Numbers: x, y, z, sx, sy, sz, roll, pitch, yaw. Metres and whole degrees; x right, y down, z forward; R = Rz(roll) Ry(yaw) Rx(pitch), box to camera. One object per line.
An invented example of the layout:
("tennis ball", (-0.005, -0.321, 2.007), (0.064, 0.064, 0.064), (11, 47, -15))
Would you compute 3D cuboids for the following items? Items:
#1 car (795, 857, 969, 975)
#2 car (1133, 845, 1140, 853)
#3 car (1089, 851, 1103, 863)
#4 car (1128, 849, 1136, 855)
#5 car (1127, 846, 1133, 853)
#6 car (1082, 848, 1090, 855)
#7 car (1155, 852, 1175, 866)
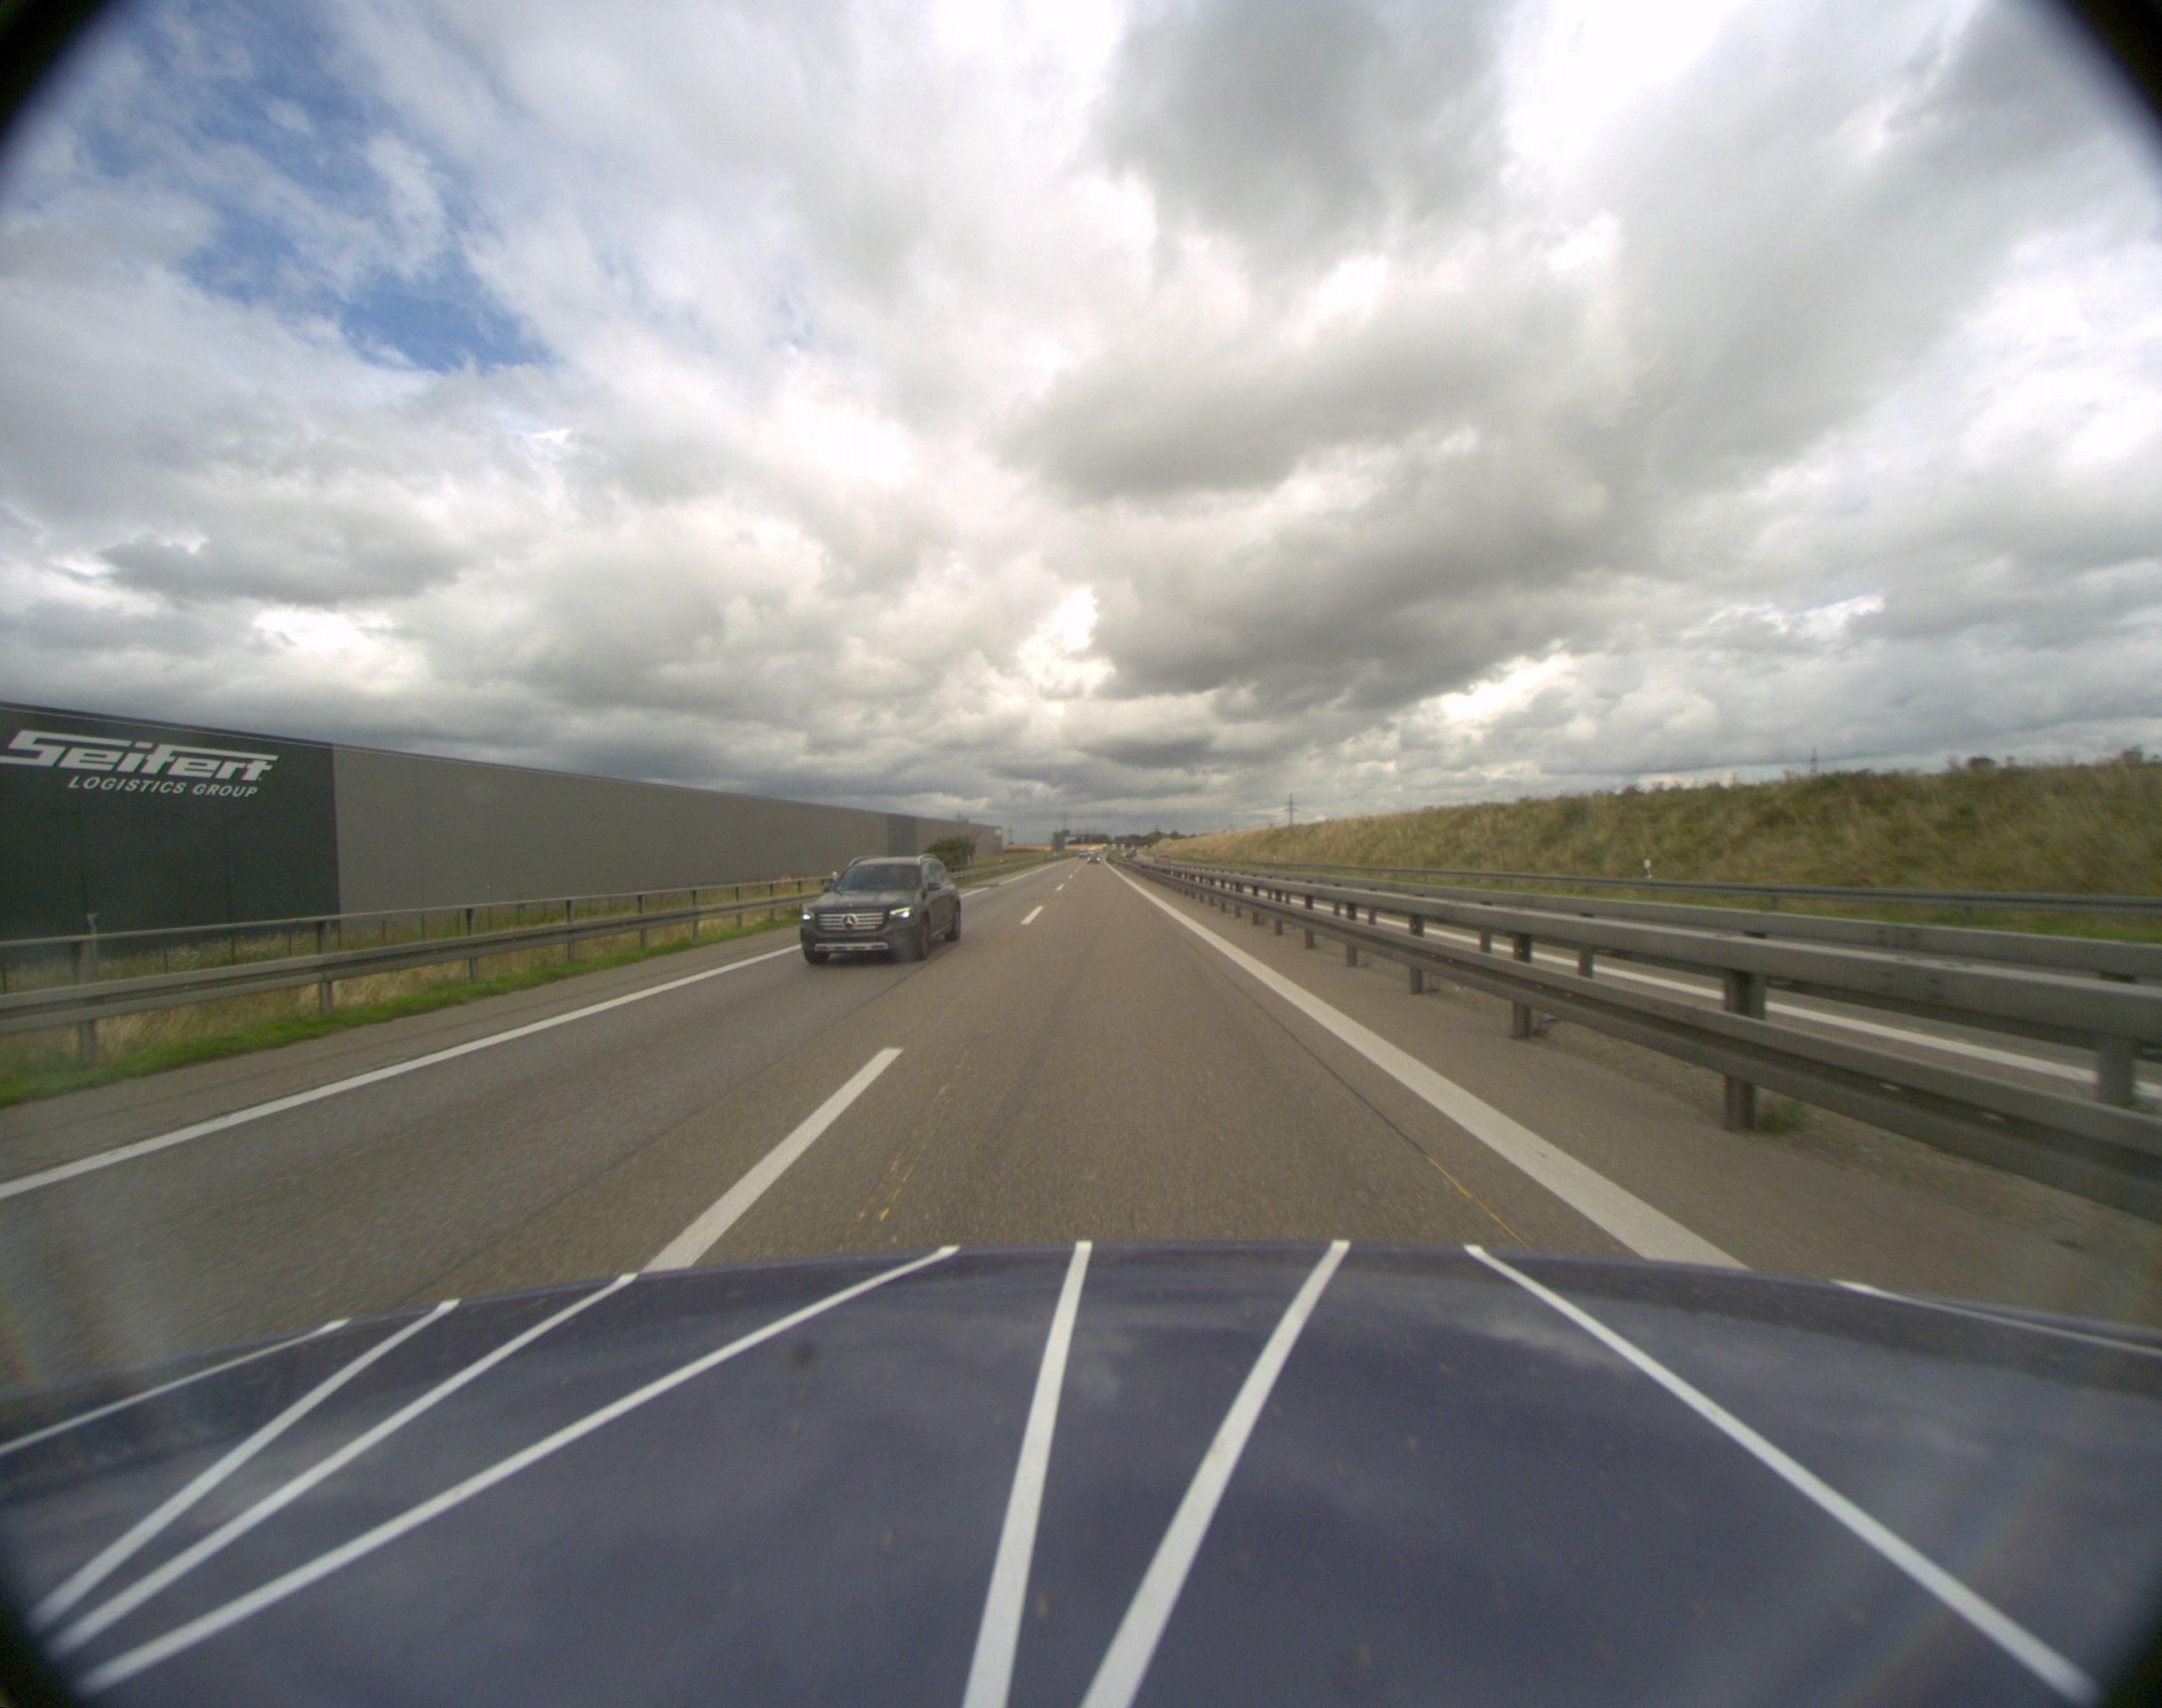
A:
("car", (-3.211, 0.906, 13.227), (1.838, 1.600, 4.359), (0, 1, 0))
("car", (17.618, -1.653, 239.855), (1.998, 2.229, 5.718), (-1, 1, 3))
("car", (2.322, 0.430, 116.282), (1.998, 1.696, 4.662), (-2, 0, 1))
("car", (12.527, -0.504, 187.846), (1.845, 1.567, 4.000), (-1, 1, 2))
("car", (15.001, -1.351, 232.319), (1.832, 1.874, 5.418), (-1, 1, 3))
("car", (1.337, -0.632, 201.783), (1.998, 1.812, 4.343), (0, 1, 5))
("car", (9.862, 0.534, 89.640), (1.911, 1.504, 4.728), (-1, 1, 1))
